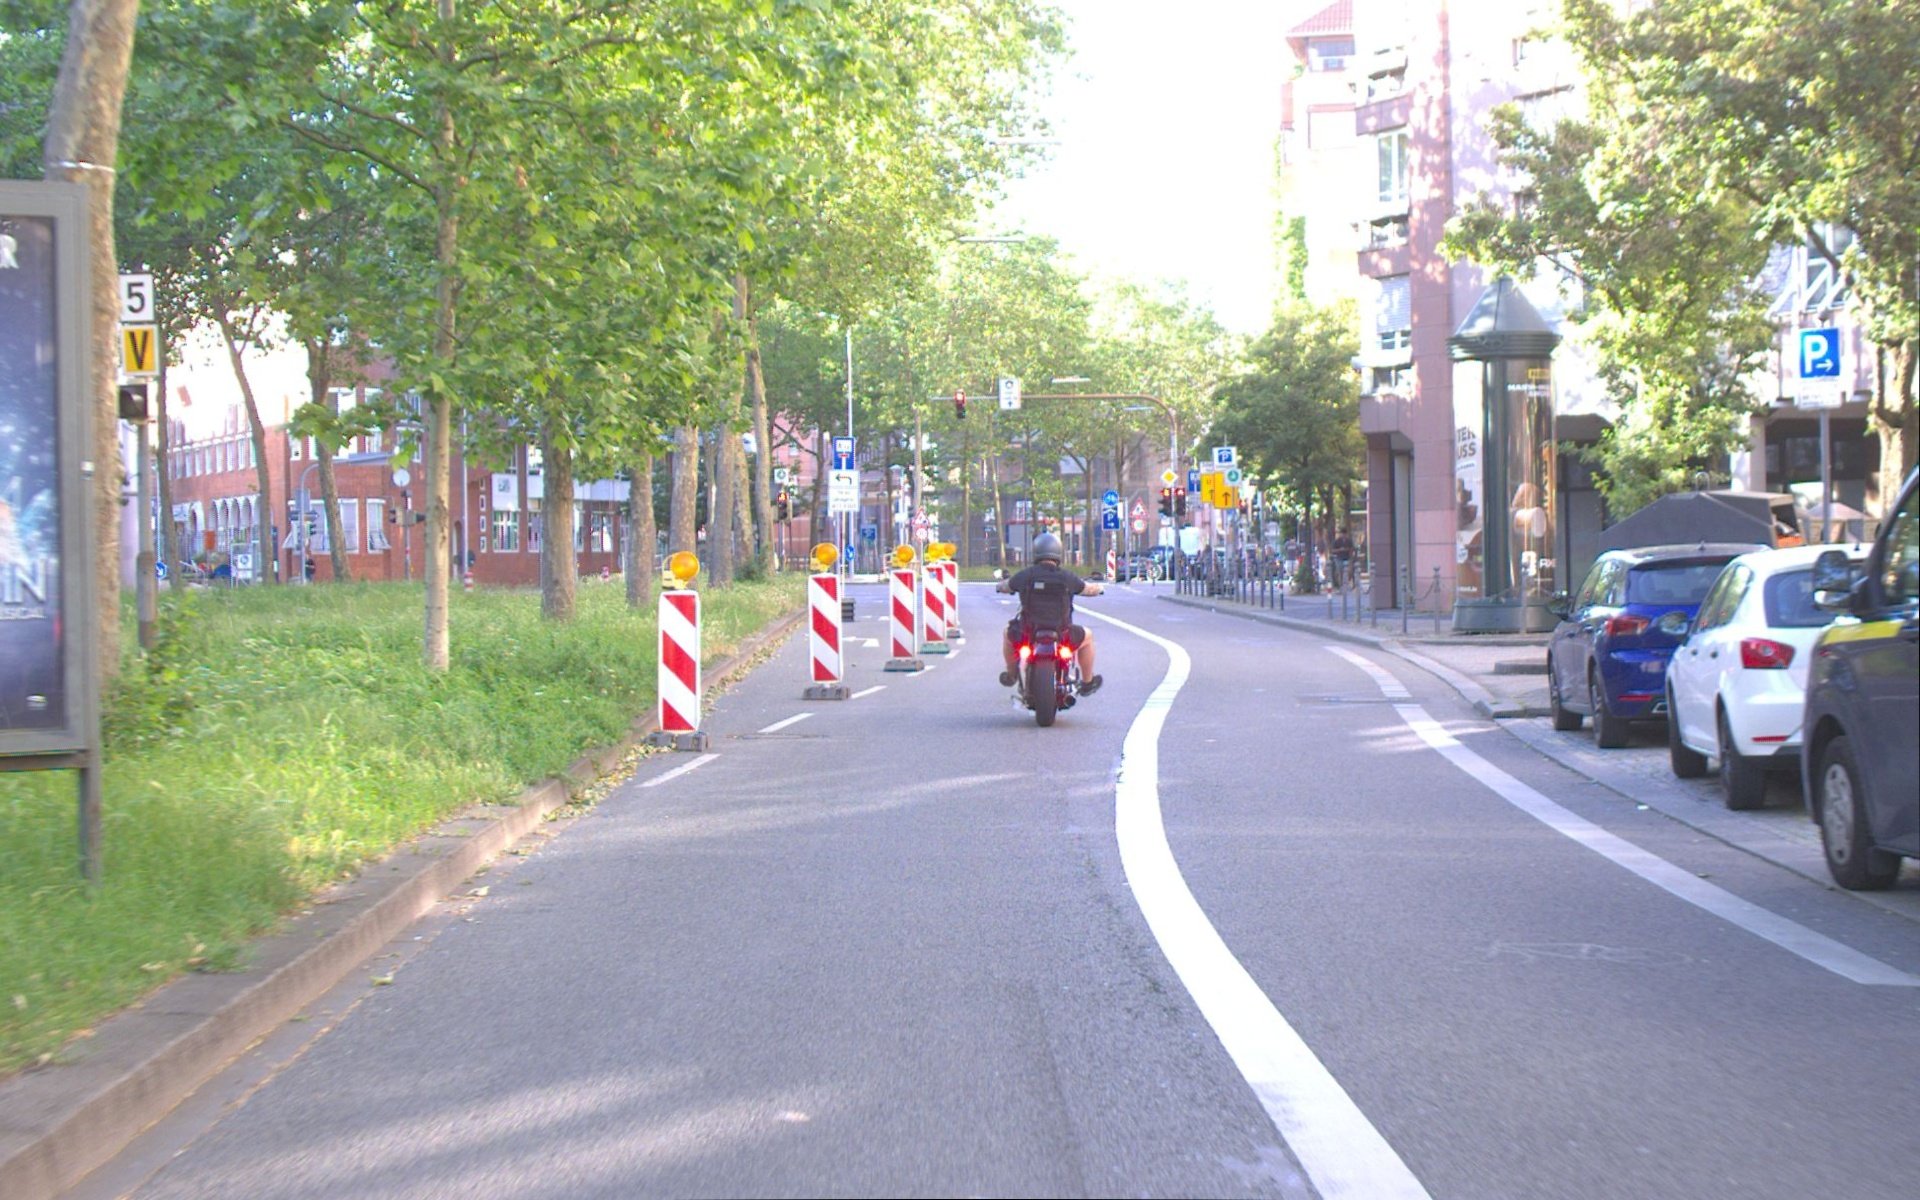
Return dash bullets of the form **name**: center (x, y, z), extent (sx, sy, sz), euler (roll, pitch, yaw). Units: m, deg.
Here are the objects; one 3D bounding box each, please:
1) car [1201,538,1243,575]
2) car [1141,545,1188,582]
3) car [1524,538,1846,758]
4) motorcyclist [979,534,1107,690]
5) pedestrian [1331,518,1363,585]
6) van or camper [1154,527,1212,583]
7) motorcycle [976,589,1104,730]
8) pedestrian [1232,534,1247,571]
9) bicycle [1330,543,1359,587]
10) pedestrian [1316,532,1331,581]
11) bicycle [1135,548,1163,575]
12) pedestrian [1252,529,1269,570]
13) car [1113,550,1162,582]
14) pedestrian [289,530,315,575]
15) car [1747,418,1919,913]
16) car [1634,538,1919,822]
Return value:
- **car**: center (13.558, -2.260, 177.958), extent (1.621, 1.859, 3.772), euler (-1, 1, 13)
- **car**: center (9.169, -1.663, 154.071), extent (1.621, 1.614, 4.483), euler (-1, 1, 10)
- **car**: center (5.415, 0.299, 26.155), extent (1.702, 1.478, 4.248), euler (-2, 1, 3)
- **motorcyclist**: center (0.697, 0.090, 28.642), extent (1.012, 1.258, 0.774), euler (2, 1, 3)
- **pedestrian**: center (10.145, -1.269, 90.052), extent (0.781, 1.732, 0.836), euler (-1, 1, 9)
- **van or camper**: center (10.446, -2.119, 160.382), extent (2.049, 2.532, 5.770), euler (-1, 1, 10)
- **motorcycle**: center (0.675, 0.474, 28.537), extent (1.018, 1.093, 2.007), euler (0, 1, 2)
- **pedestrian**: center (12.067, -2.053, 148.420), extent (0.644, 1.573, 0.748), euler (-1, 1, 4)
- **bicycle**: center (10.823, -0.997, 96.744), extent (0.622, 1.221, 1.925), euler (0, 1, 13)
- **pedestrian**: center (12.332, -1.473, 116.759), extent (0.459, 1.667, 0.680), euler (-1, 1, 4)
- **bicycle**: center (7.538, -1.536, 136.974), extent (0.737, 1.049, 1.752), euler (-1, 1, -9)
- **pedestrian**: center (12.963, -2.178, 148.357), extent (0.700, 1.727, 0.767), euler (-1, 1, 4)
- **car**: center (7.445, -1.417, 144.077), extent (1.621, 1.298, 4.310), euler (-1, 1, 9)
- **pedestrian**: center (-27.437, -1.999, 143.328), extent (0.855, 1.863, 0.752), euler (-1, 1, 8)
- **car**: center (4.753, 0.218, 13.256), extent (2.037, 1.936, 5.198), euler (-3, 1, -1)
- **car**: center (5.157, 0.392, 20.444), extent (1.702, 1.460, 4.175), euler (-2, 1, 4)
